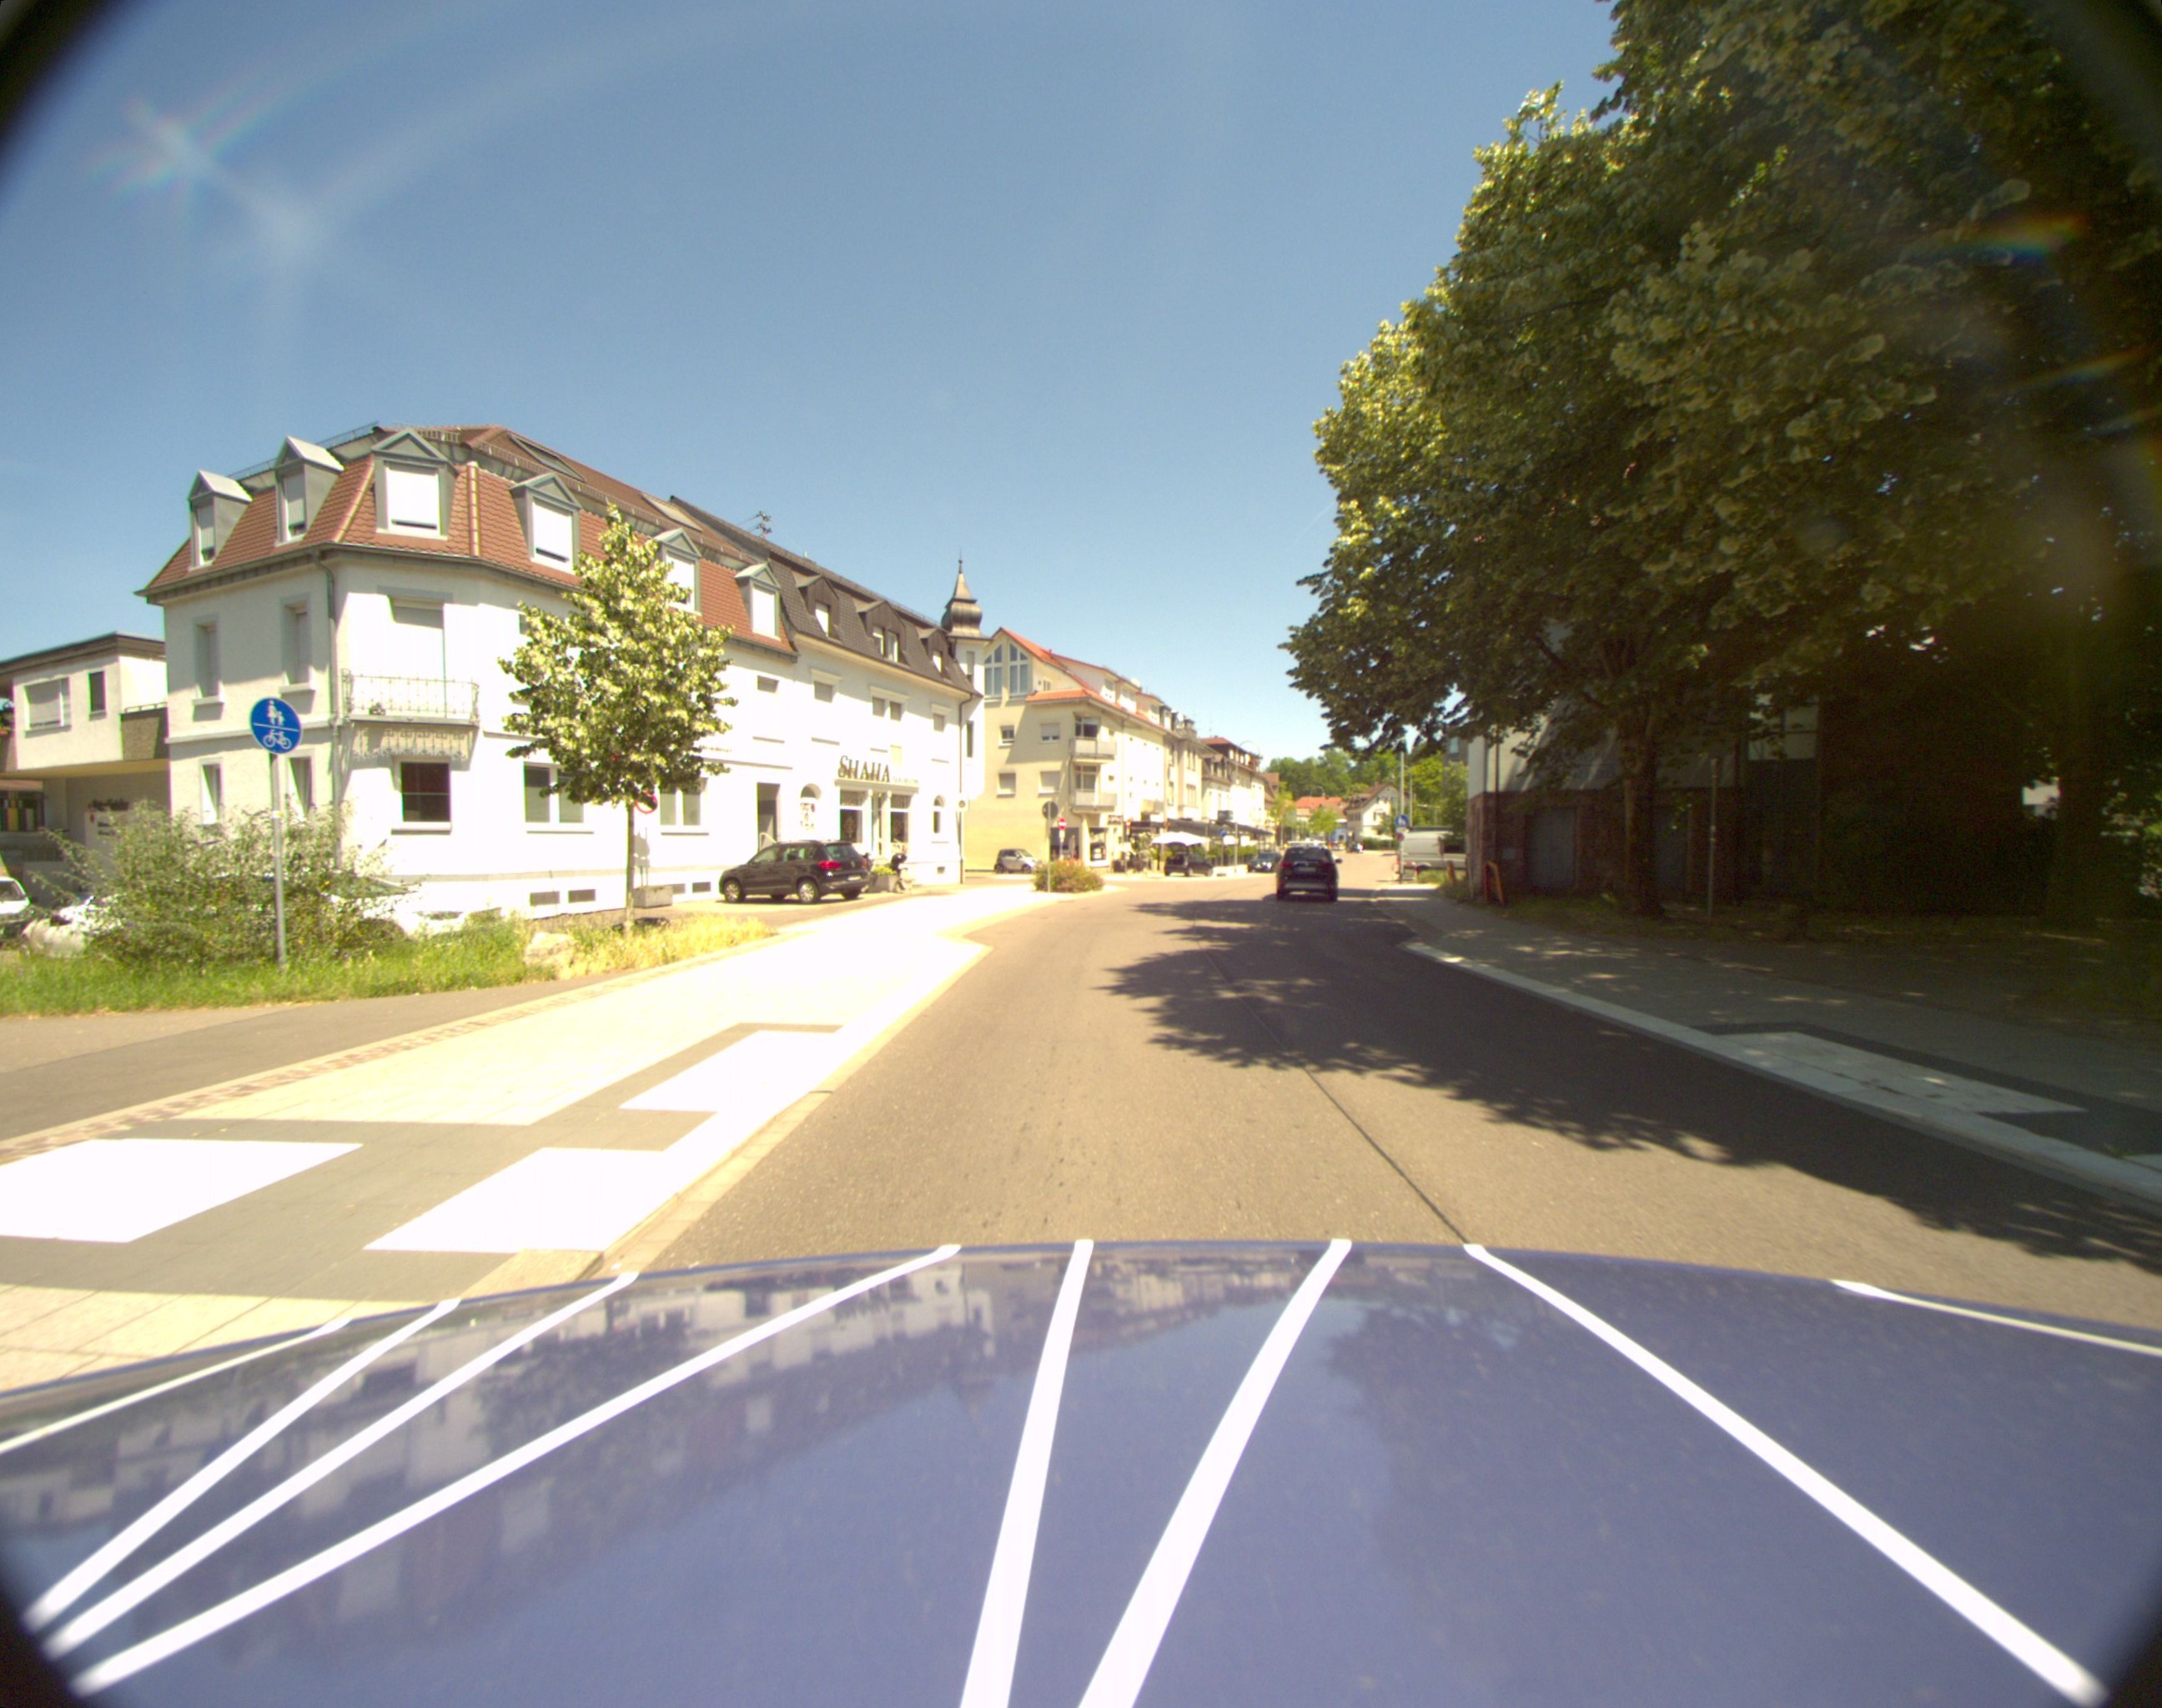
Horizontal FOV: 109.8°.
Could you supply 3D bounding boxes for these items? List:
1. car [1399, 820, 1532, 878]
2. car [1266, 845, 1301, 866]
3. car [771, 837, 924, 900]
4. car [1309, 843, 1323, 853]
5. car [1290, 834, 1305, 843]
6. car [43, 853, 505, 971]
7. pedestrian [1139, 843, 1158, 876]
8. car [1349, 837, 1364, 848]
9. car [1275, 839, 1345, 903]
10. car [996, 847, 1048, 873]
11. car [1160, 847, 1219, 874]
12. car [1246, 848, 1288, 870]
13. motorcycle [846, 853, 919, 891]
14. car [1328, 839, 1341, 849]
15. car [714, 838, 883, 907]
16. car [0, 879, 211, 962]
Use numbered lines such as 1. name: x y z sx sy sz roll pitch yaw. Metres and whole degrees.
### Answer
1. car: 19.177 -0.229 38.137 5.772 2.717 2.295 -1 2 25
2. car: 16.423 0.091 61.525 1.738 1.478 4.061 3 4 30
3. car: -6.974 0.417 22.725 4.078 1.706 1.859 -1 2 23
4. car: 37.907 -0.917 122.505 1.680 1.506 3.391 0 2 25
5. car: 38.851 -2.717 136.263 1.733 1.465 4.324 2 2 5
6. car: -11.147 0.801 10.896 4.204 1.341 1.860 -2 -4 -13
7. pedestrian: 3.722 0.292 42.026 0.746 1.786 0.845 1 1 32
8. car: 41.281 -1.776 113.929 1.896 1.545 4.804 -1 1 17
9. car: 7.276 0.458 23.876 1.742 1.762 4.344 2 2 21
10. car: -3.581 0.357 46.286 2.729 1.463 1.532 0 3 24
11. car: 6.490 0.359 45.225 1.872 1.483 3.869 3 2 35
12. car: 13.291 0.317 54.101 1.725 1.397 4.617 2 2 28
13. motorcycle: -6.889 0.614 26.357 2.378 1.268 0.857 0 1 24
14. car: 44.876 -1.735 134.331 1.813 1.692 4.079 0 2 13
15. car: -7.661 0.476 20.635 4.078 1.706 1.859 -1 2 23
16. car: -21.474 1.462 16.729 4.021 1.533 1.802 -4 0 23
